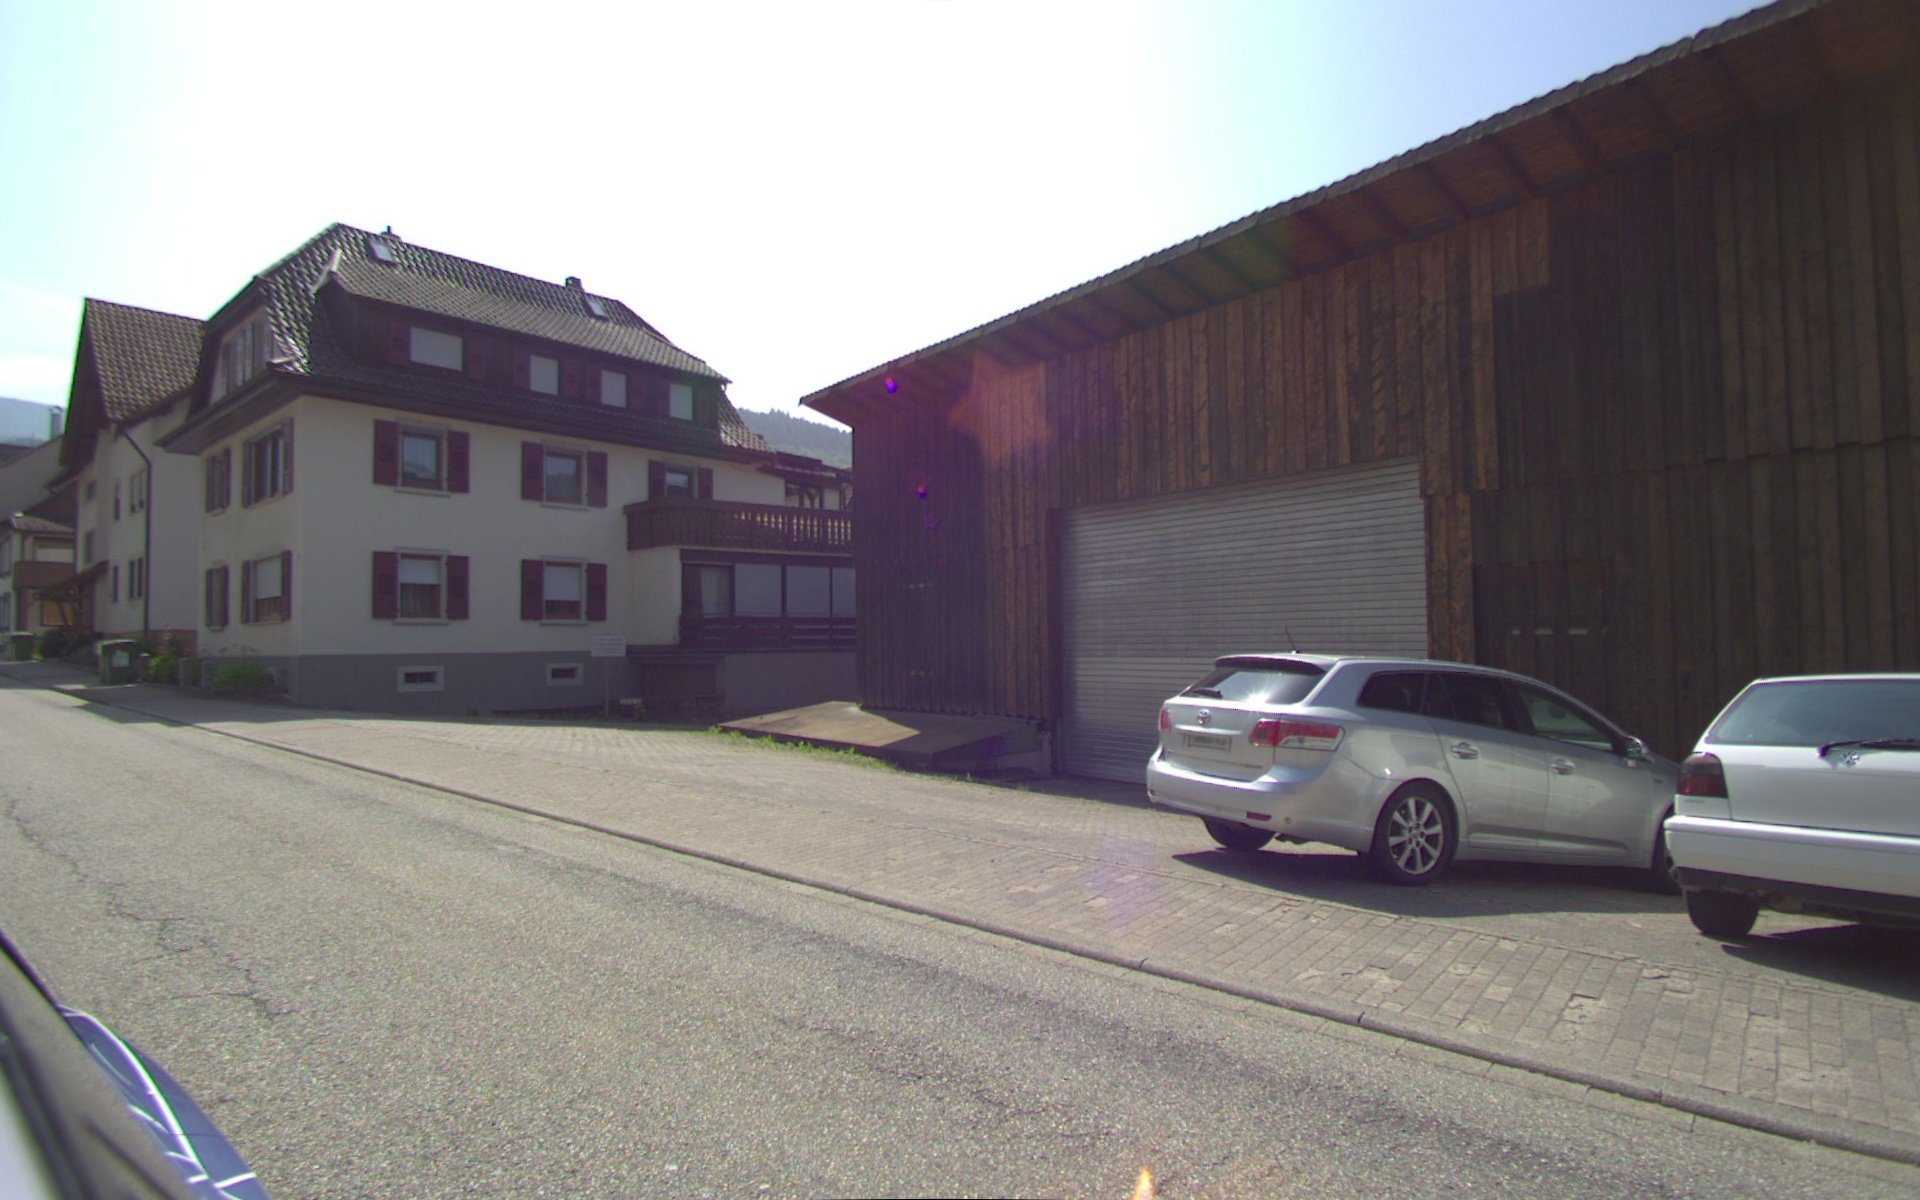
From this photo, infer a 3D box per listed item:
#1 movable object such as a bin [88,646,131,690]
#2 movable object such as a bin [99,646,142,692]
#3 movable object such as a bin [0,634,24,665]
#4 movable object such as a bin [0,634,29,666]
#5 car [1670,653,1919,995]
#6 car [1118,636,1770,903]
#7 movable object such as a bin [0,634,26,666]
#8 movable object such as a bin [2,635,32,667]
[{"bbox_3d":[-21.123,1.679,25.131,0.653,1.075,0.669,-1,-3,39],"label":"movable object such as a bin"},{"bbox_3d":[-20.214,1.642,24.368,0.621,1.075,0.669,-1,-3,39],"label":"movable object such as a bin"},{"bbox_3d":[-36.862,1.926,39.245,0.597,1.190,0.710,-2,-4,41],"label":"movable object such as a bin"},{"bbox_3d":[-35.868,1.913,38.390,0.597,1.190,0.710,-2,-4,41],"label":"movable object such as a bin"},{"bbox_3d":[5.448,1.103,5.276,3.610,1.396,1.715,6,-5,-34],"label":"car"},{"bbox_3d":[3.573,1.164,7.456,4.367,1.486,1.930,5,-5,-24],"label":"car"},{"bbox_3d":[-36.371,1.919,38.804,0.597,1.190,0.710,-2,-4,41],"label":"movable object such as a bin"},{"bbox_3d":[-35.371,1.907,37.961,0.597,1.190,0.710,-2,-4,41],"label":"movable object such as a bin"}]
